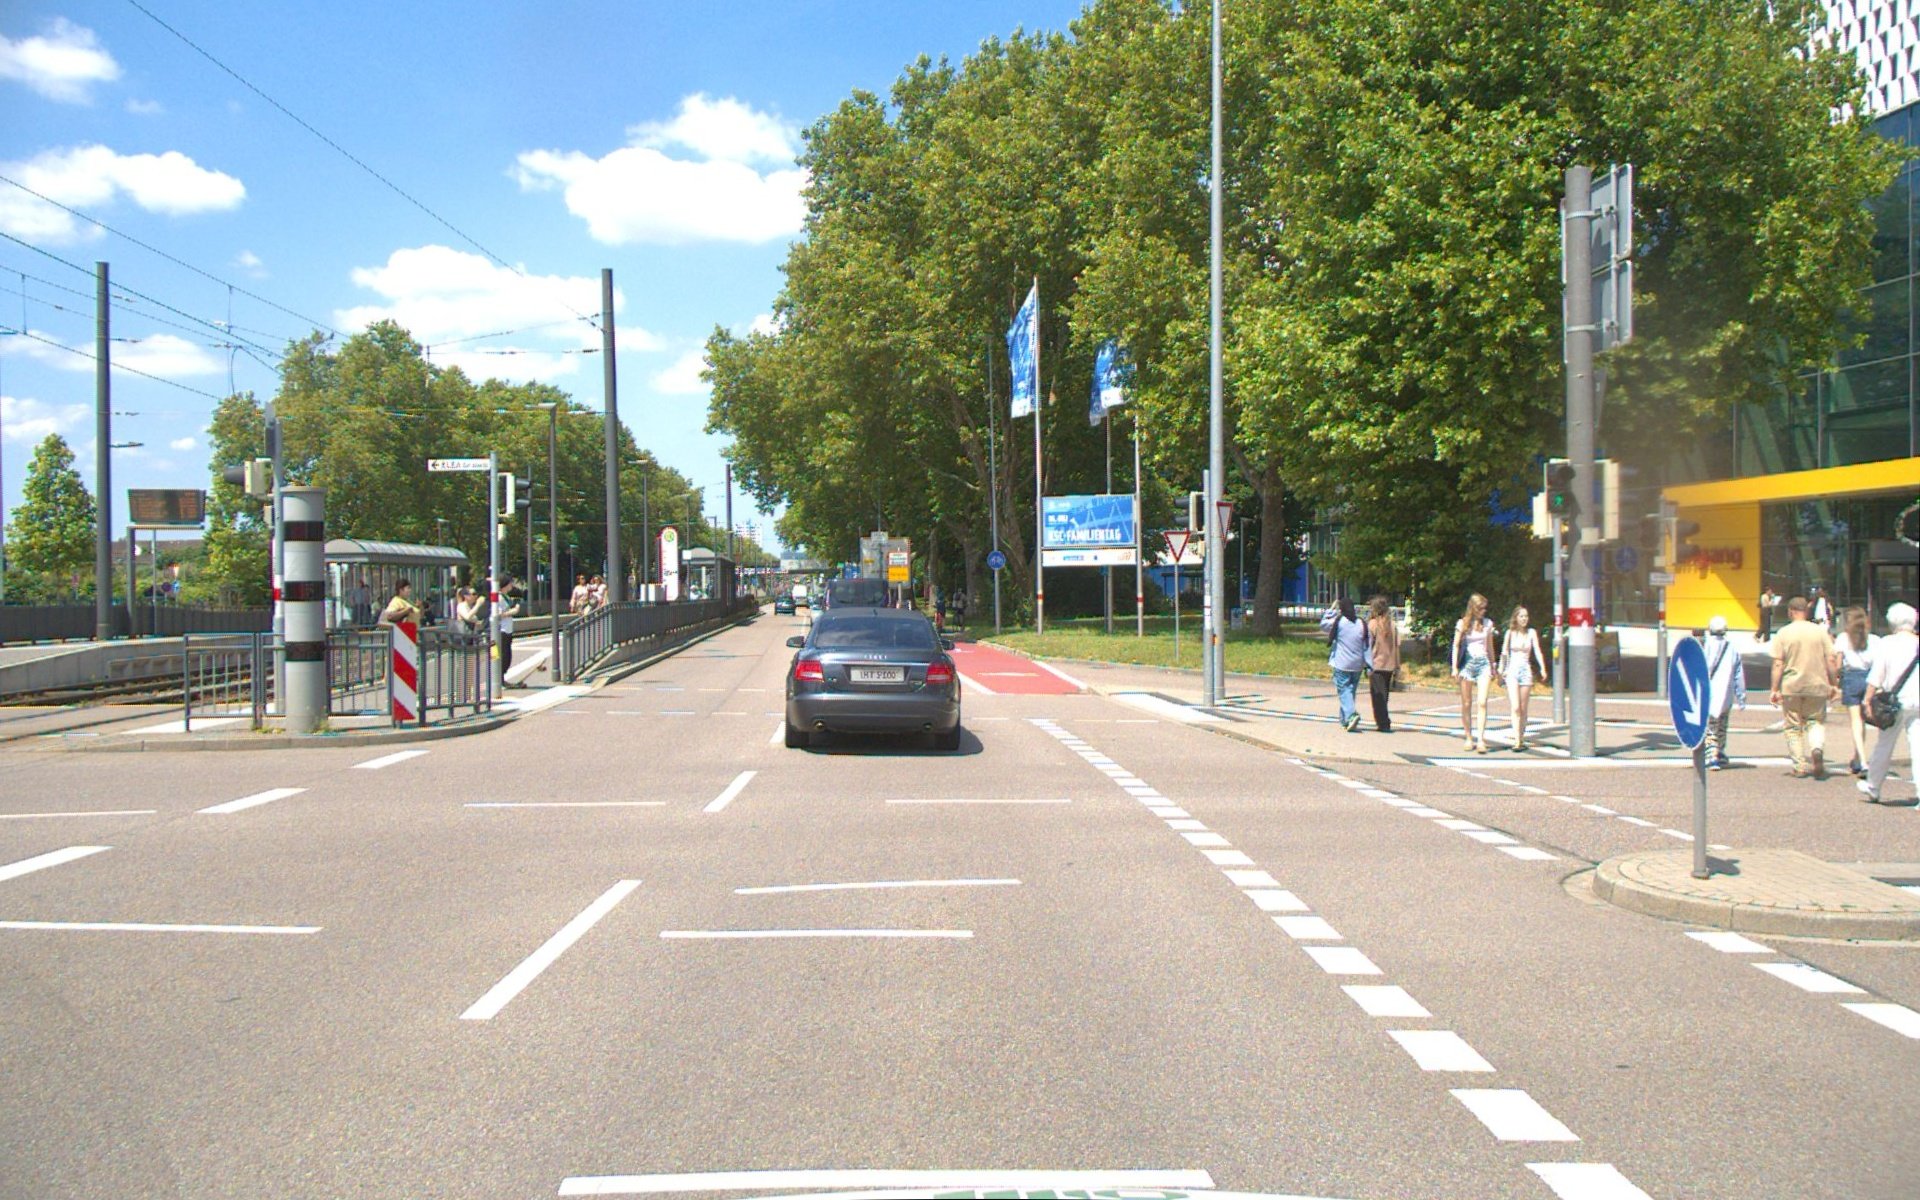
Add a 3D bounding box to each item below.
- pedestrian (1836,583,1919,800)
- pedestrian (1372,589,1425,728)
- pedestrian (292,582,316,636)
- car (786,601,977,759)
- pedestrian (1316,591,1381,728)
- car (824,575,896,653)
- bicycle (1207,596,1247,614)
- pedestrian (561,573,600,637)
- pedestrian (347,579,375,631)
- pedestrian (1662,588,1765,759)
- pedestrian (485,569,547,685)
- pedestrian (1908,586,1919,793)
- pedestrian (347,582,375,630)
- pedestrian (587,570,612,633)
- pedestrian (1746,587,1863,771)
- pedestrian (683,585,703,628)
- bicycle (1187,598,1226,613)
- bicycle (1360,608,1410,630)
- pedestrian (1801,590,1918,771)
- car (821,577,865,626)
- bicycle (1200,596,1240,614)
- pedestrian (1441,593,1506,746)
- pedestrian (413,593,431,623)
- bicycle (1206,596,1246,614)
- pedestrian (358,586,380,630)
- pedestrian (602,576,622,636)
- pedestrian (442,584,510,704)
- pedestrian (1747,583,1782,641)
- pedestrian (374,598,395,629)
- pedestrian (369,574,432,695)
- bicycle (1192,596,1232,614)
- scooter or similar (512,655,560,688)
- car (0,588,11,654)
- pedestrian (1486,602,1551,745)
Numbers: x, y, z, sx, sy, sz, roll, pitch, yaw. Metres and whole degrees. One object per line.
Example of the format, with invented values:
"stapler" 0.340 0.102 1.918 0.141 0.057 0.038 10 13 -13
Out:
"pedestrian" 7.406 0.709 13.113 0.593 1.666 0.864 0 -1 11
"pedestrian" 5.528 0.726 20.895 0.609 1.712 0.726 0 0 12
"pedestrian" -20.521 0.277 51.748 0.547 1.666 0.804 0 0 -12
"car" -0.958 0.772 18.012 1.807 1.510 3.994 0 0 -7
"pedestrian" 4.774 0.710 20.346 0.749 1.634 0.897 0 0 12
"car" -2.688 0.357 44.654 1.812 1.994 4.141 1 0 -3
"bicycle" 17.323 0.328 107.320 2.499 1.130 0.757 1 0 -10
"pedestrian" -9.712 0.117 42.325 0.873 1.633 0.923 0 0 -6
"pedestrian" -20.664 0.167 57.068 0.723 1.759 0.577 0 0 32
"pedestrian" 7.641 0.723 16.813 0.778 1.688 0.853 0 0 12
"pedestrian" -7.130 0.431 26.581 0.846 1.833 0.882 0 0 -9
"pedestrian" 7.980 0.719 13.076 0.589 1.666 0.864 0 -1 11
"pedestrian" -21.172 0.214 58.468 0.810 1.667 0.577 0 0 32
"pedestrian" -9.961 0.048 45.741 0.602 1.711 0.719 1 0 -7
"pedestrian" 7.982 0.722 15.666 0.778 1.688 0.853 0 0 12
"pedestrian" -10.702 0.260 66.309 0.718 1.694 0.741 0 0 -6
"bicycle" 16.716 0.345 112.058 2.499 0.987 0.757 1 0 -10
"bicycle" 18.822 0.837 73.262 2.022 0.986 0.867 0 0 -9
"pedestrian" 8.678 0.755 15.984 0.778 1.688 0.853 0 0 12
"car" -4.998 0.059 71.123 1.812 1.994 4.141 1 0 -3
"bicycle" 17.200 0.339 109.568 2.499 1.130 0.757 1 0 -10
"pedestrian" 5.805 0.769 18.713 0.516 1.695 0.640 0 0 -1
"pedestrian" -22.342 0.320 68.633 0.565 1.211 0.638 0 0 -5
"bicycle" 17.429 0.336 108.399 2.499 1.130 0.757 1 0 -10
"pedestrian" -21.169 0.273 59.241 0.565 1.560 0.638 0 0 -5
"pedestrian" -9.363 0.162 44.500 0.487 1.605 0.556 0 0 -7
"pedestrian" -6.578 0.583 22.497 0.770 1.600 0.763 0 0 -8
"pedestrian" 24.747 0.364 50.905 0.764 1.766 0.742 0 0 7
"pedestrian" -21.261 0.506 61.120 0.565 1.114 0.638 0 0 -5
"pedestrian" -7.989 0.486 23.641 0.718 1.702 0.677 0 0 -8
"bicycle" 16.889 0.341 110.801 2.499 1.130 0.757 1 0 -10
"scooter or similar" -6.878 1.155 26.836 0.713 0.514 0.456 0 0 -8
"car" -25.115 0.517 40.234 1.954 1.657 3.997 1 0 -4
"pedestrian" 6.388 0.824 18.934 0.516 1.607 0.612 0 0 -1
